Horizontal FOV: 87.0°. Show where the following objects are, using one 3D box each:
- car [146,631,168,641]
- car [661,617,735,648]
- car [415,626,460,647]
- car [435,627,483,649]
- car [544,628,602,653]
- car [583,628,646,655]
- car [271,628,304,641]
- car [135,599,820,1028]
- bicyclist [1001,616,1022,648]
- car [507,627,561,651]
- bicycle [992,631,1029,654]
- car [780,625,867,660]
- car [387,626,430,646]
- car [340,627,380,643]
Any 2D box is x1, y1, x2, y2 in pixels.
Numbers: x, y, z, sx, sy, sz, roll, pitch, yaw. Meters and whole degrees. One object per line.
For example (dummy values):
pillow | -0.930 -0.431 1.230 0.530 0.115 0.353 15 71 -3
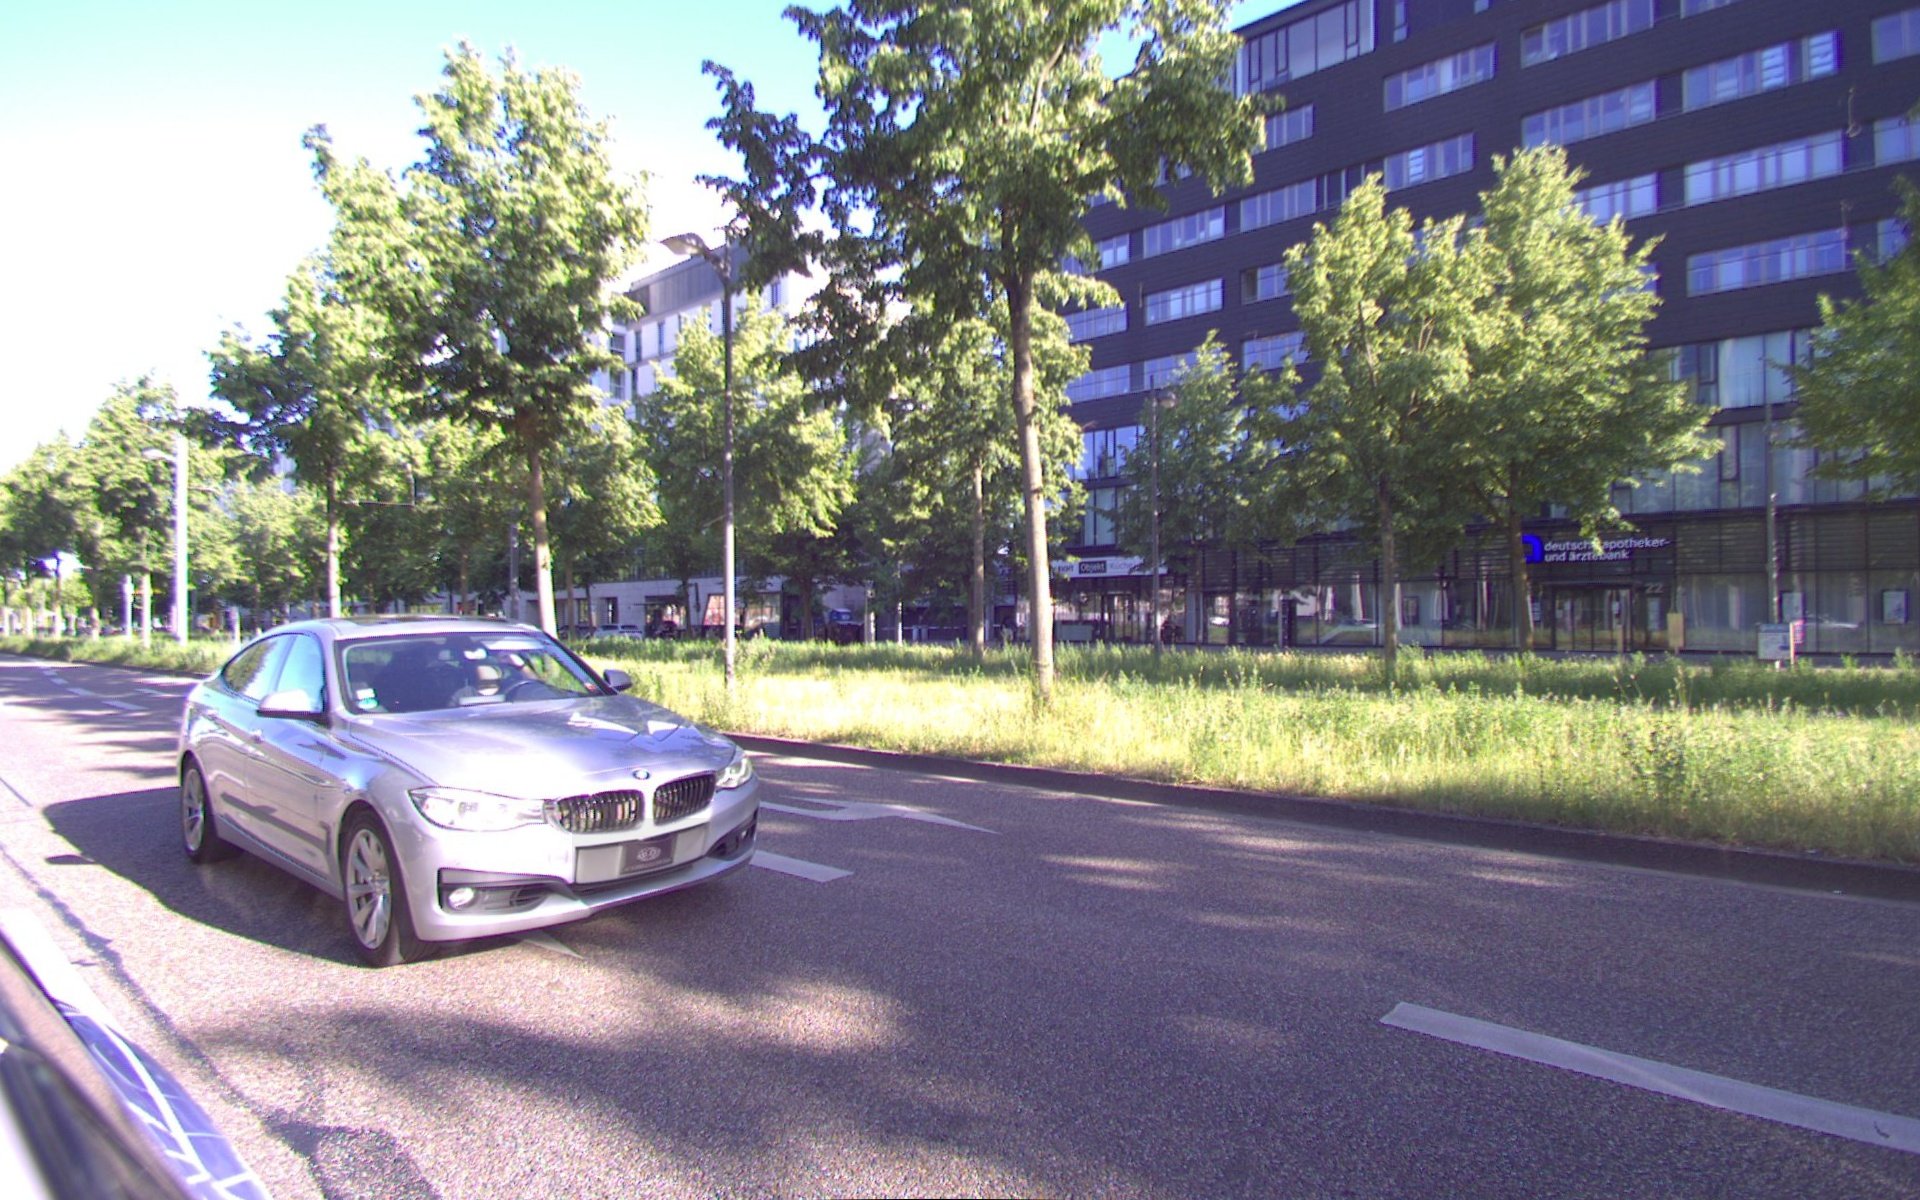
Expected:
car | -114.535 5.084 144.413 4.001 1.406 1.971 -2 -2 44
car | -14.369 1.754 55.381 4.182 1.609 1.926 -2 -1 41
car | -42.040 2.934 81.403 4.182 1.609 1.859 -2 -1 41
car | -38.578 2.882 77.897 4.182 1.609 1.859 -2 -1 41
car | -25.608 2.650 66.979 4.182 1.609 1.859 -2 -1 41
car | -21.585 2.586 63.157 4.182 1.609 1.859 -2 -1 41
car | -72.441 3.703 108.984 3.998 1.406 1.972 -2 -2 41
car | -2.992 0.795 5.718 4.558 1.495 1.800 -1 -1 40
bicyclist | 2.358 1.458 46.002 0.820 1.435 0.472 -2 -2 41
car | -29.637 2.722 70.390 4.182 1.609 1.859 -2 -1 41
bicycle | 2.308 1.918 46.037 1.755 1.043 0.472 -2 -2 41
car | -6.677 2.031 49.315 4.182 1.609 1.926 -2 -1 41
car | -46.495 3.012 85.299 4.182 1.609 1.859 -2 -1 41
car | -55.792 3.228 94.031 3.996 1.406 1.973 -2 -2 40
